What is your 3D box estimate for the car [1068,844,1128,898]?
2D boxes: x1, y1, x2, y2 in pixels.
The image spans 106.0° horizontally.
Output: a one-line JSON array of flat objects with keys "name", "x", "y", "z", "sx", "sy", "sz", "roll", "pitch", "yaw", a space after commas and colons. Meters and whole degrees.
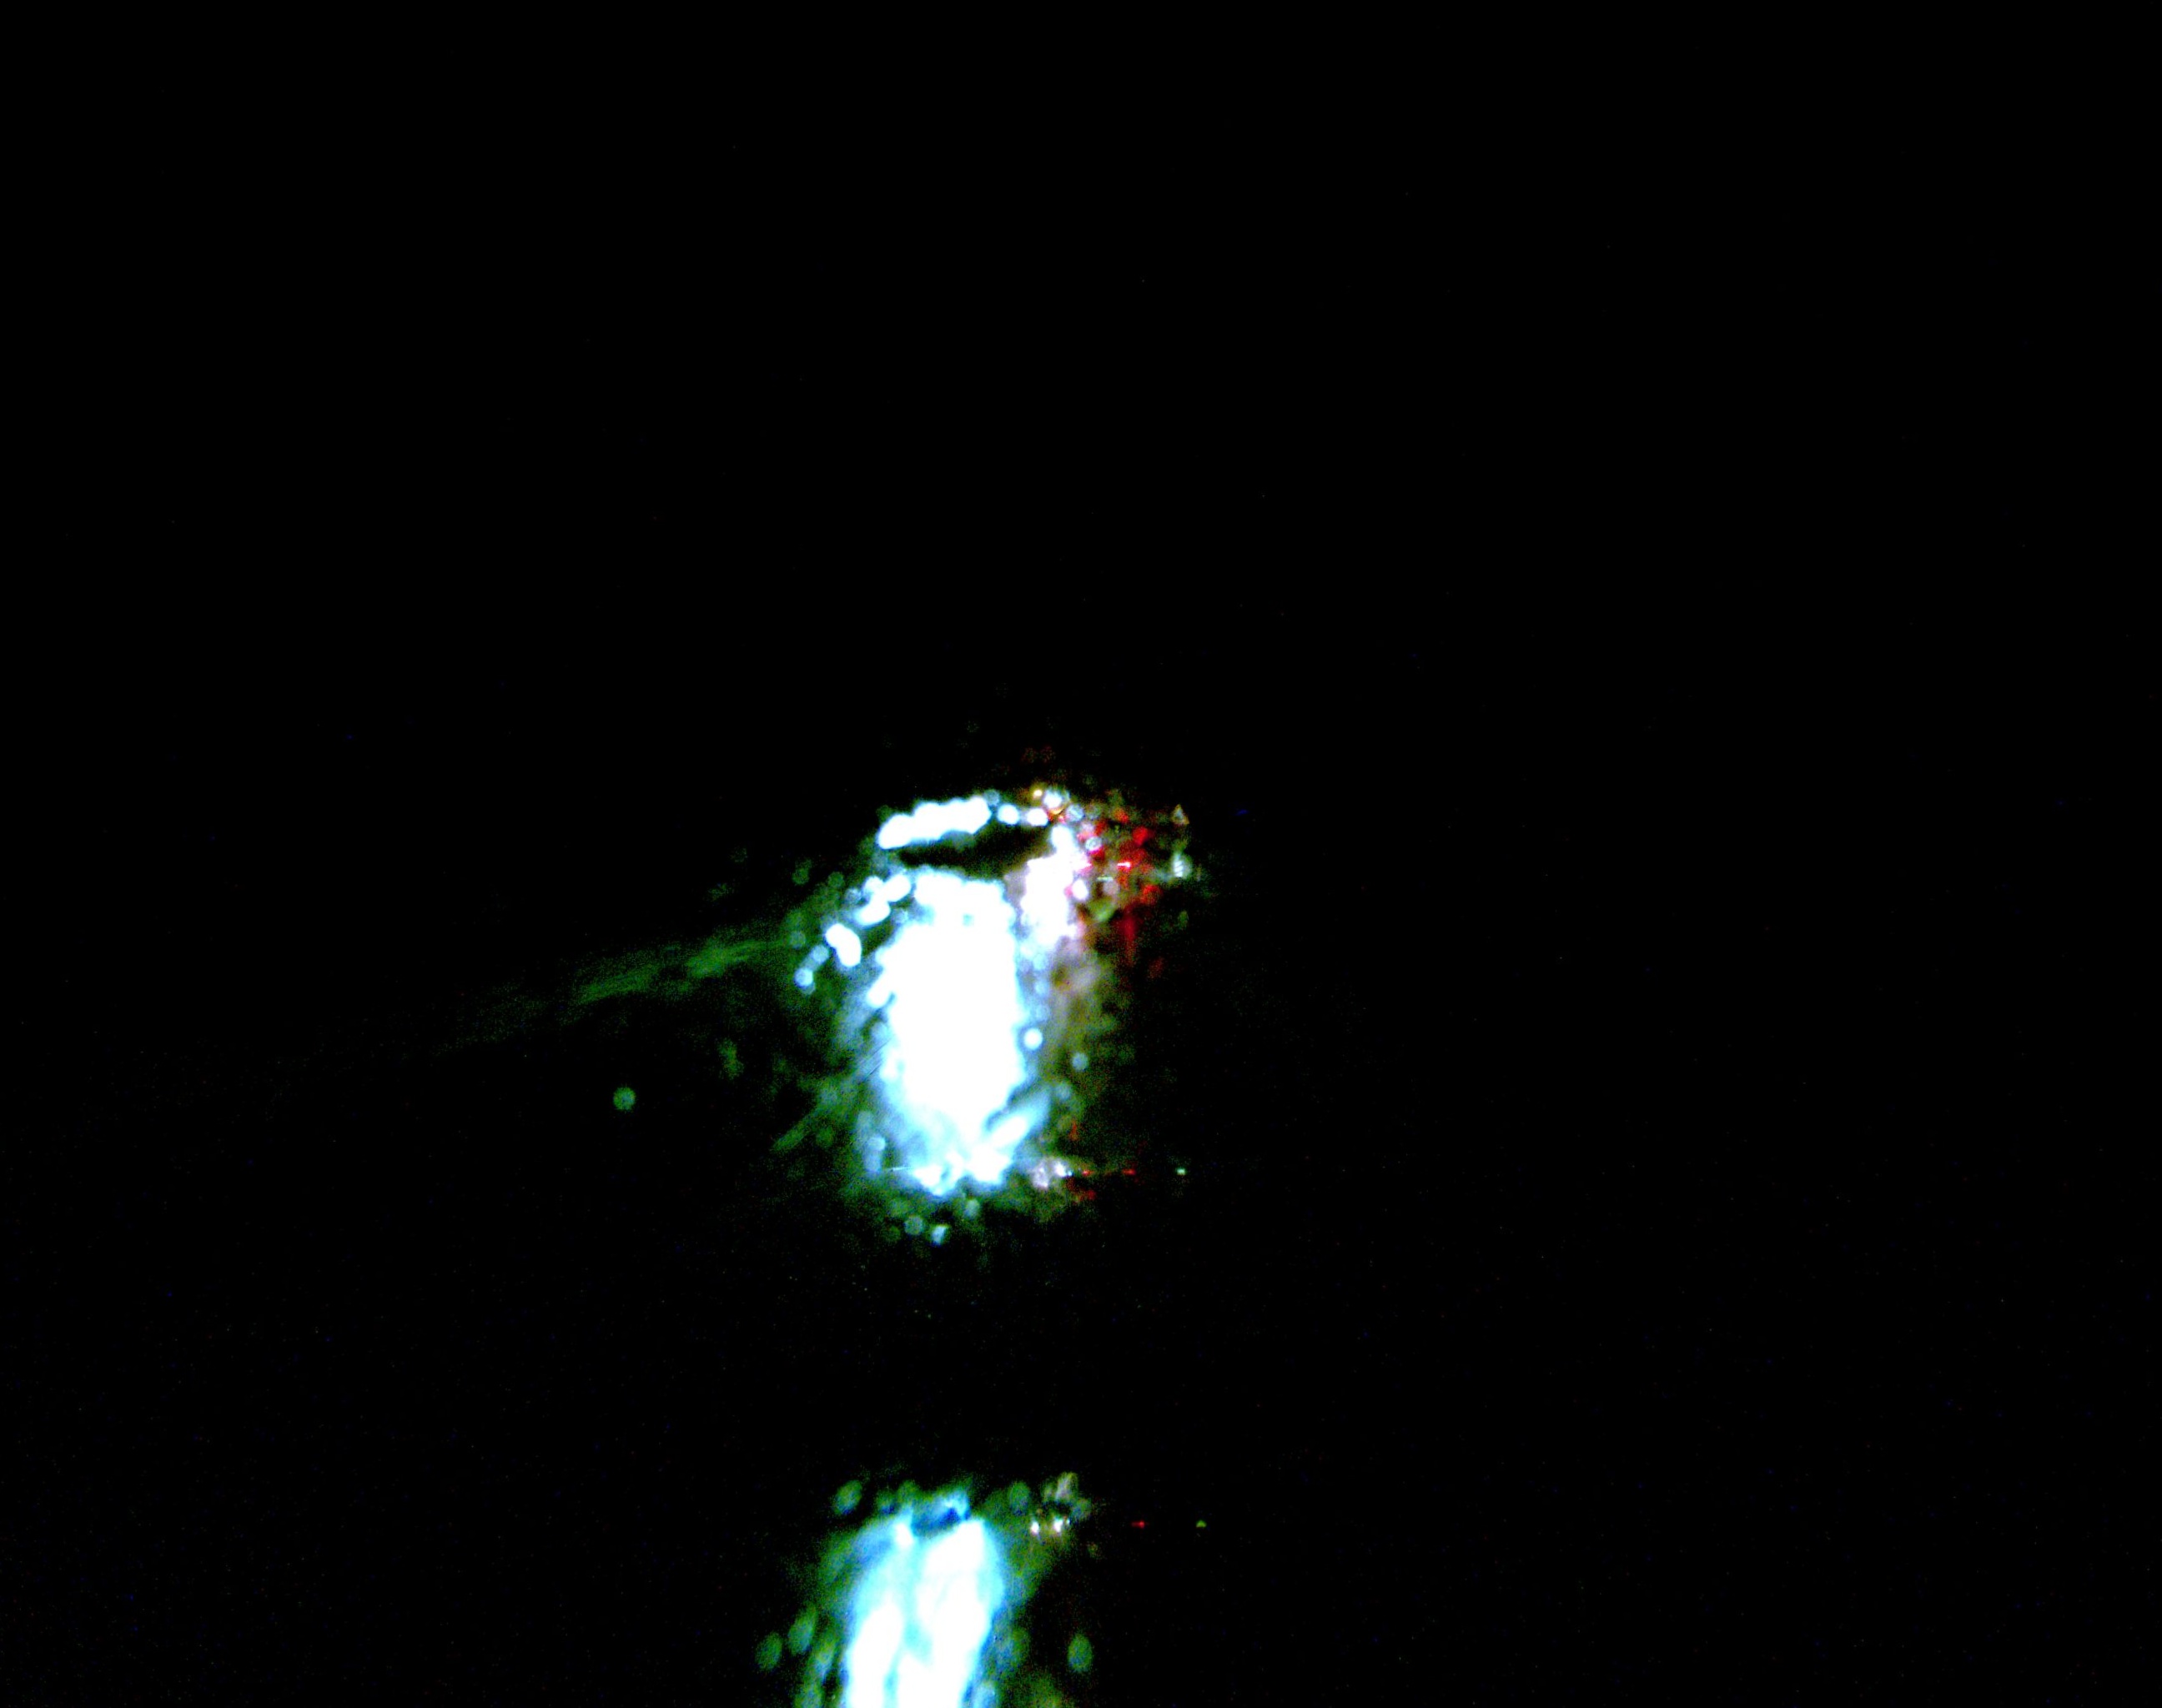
[{"name": "car", "x": 0.552, "y": 0.510, "z": 26.844, "sx": 1.795, "sy": 1.628, "sz": 3.616, "roll": 1, "pitch": 0, "yaw": 1}]

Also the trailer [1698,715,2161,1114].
[{"name": "trailer", "x": 7.177, "y": 0.386, "z": 6.115, "sx": 1.601, "sy": 2.352, "sz": 4.429, "roll": 3, "pitch": 0, "yaw": -1}]

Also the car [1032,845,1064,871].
[{"name": "car", "x": -2.038, "y": 0.252, "z": 51.185, "sx": 1.795, "sy": 1.509, "sz": 3.616, "roll": 2, "pitch": 0, "yaw": 1}]

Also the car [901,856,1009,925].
[{"name": "car", "x": -2.950, "y": 0.797, "z": 20.118, "sx": 1.988, "sy": 1.460, "sz": 4.895, "roll": -1, "pitch": 0, "yaw": -2}]

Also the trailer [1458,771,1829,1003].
[{"name": "trailer", "x": 7.020, "y": 0.339, "z": 10.921, "sx": 1.625, "sy": 2.364, "sz": 4.651, "roll": 3, "pitch": 0, "yaw": -1}]
